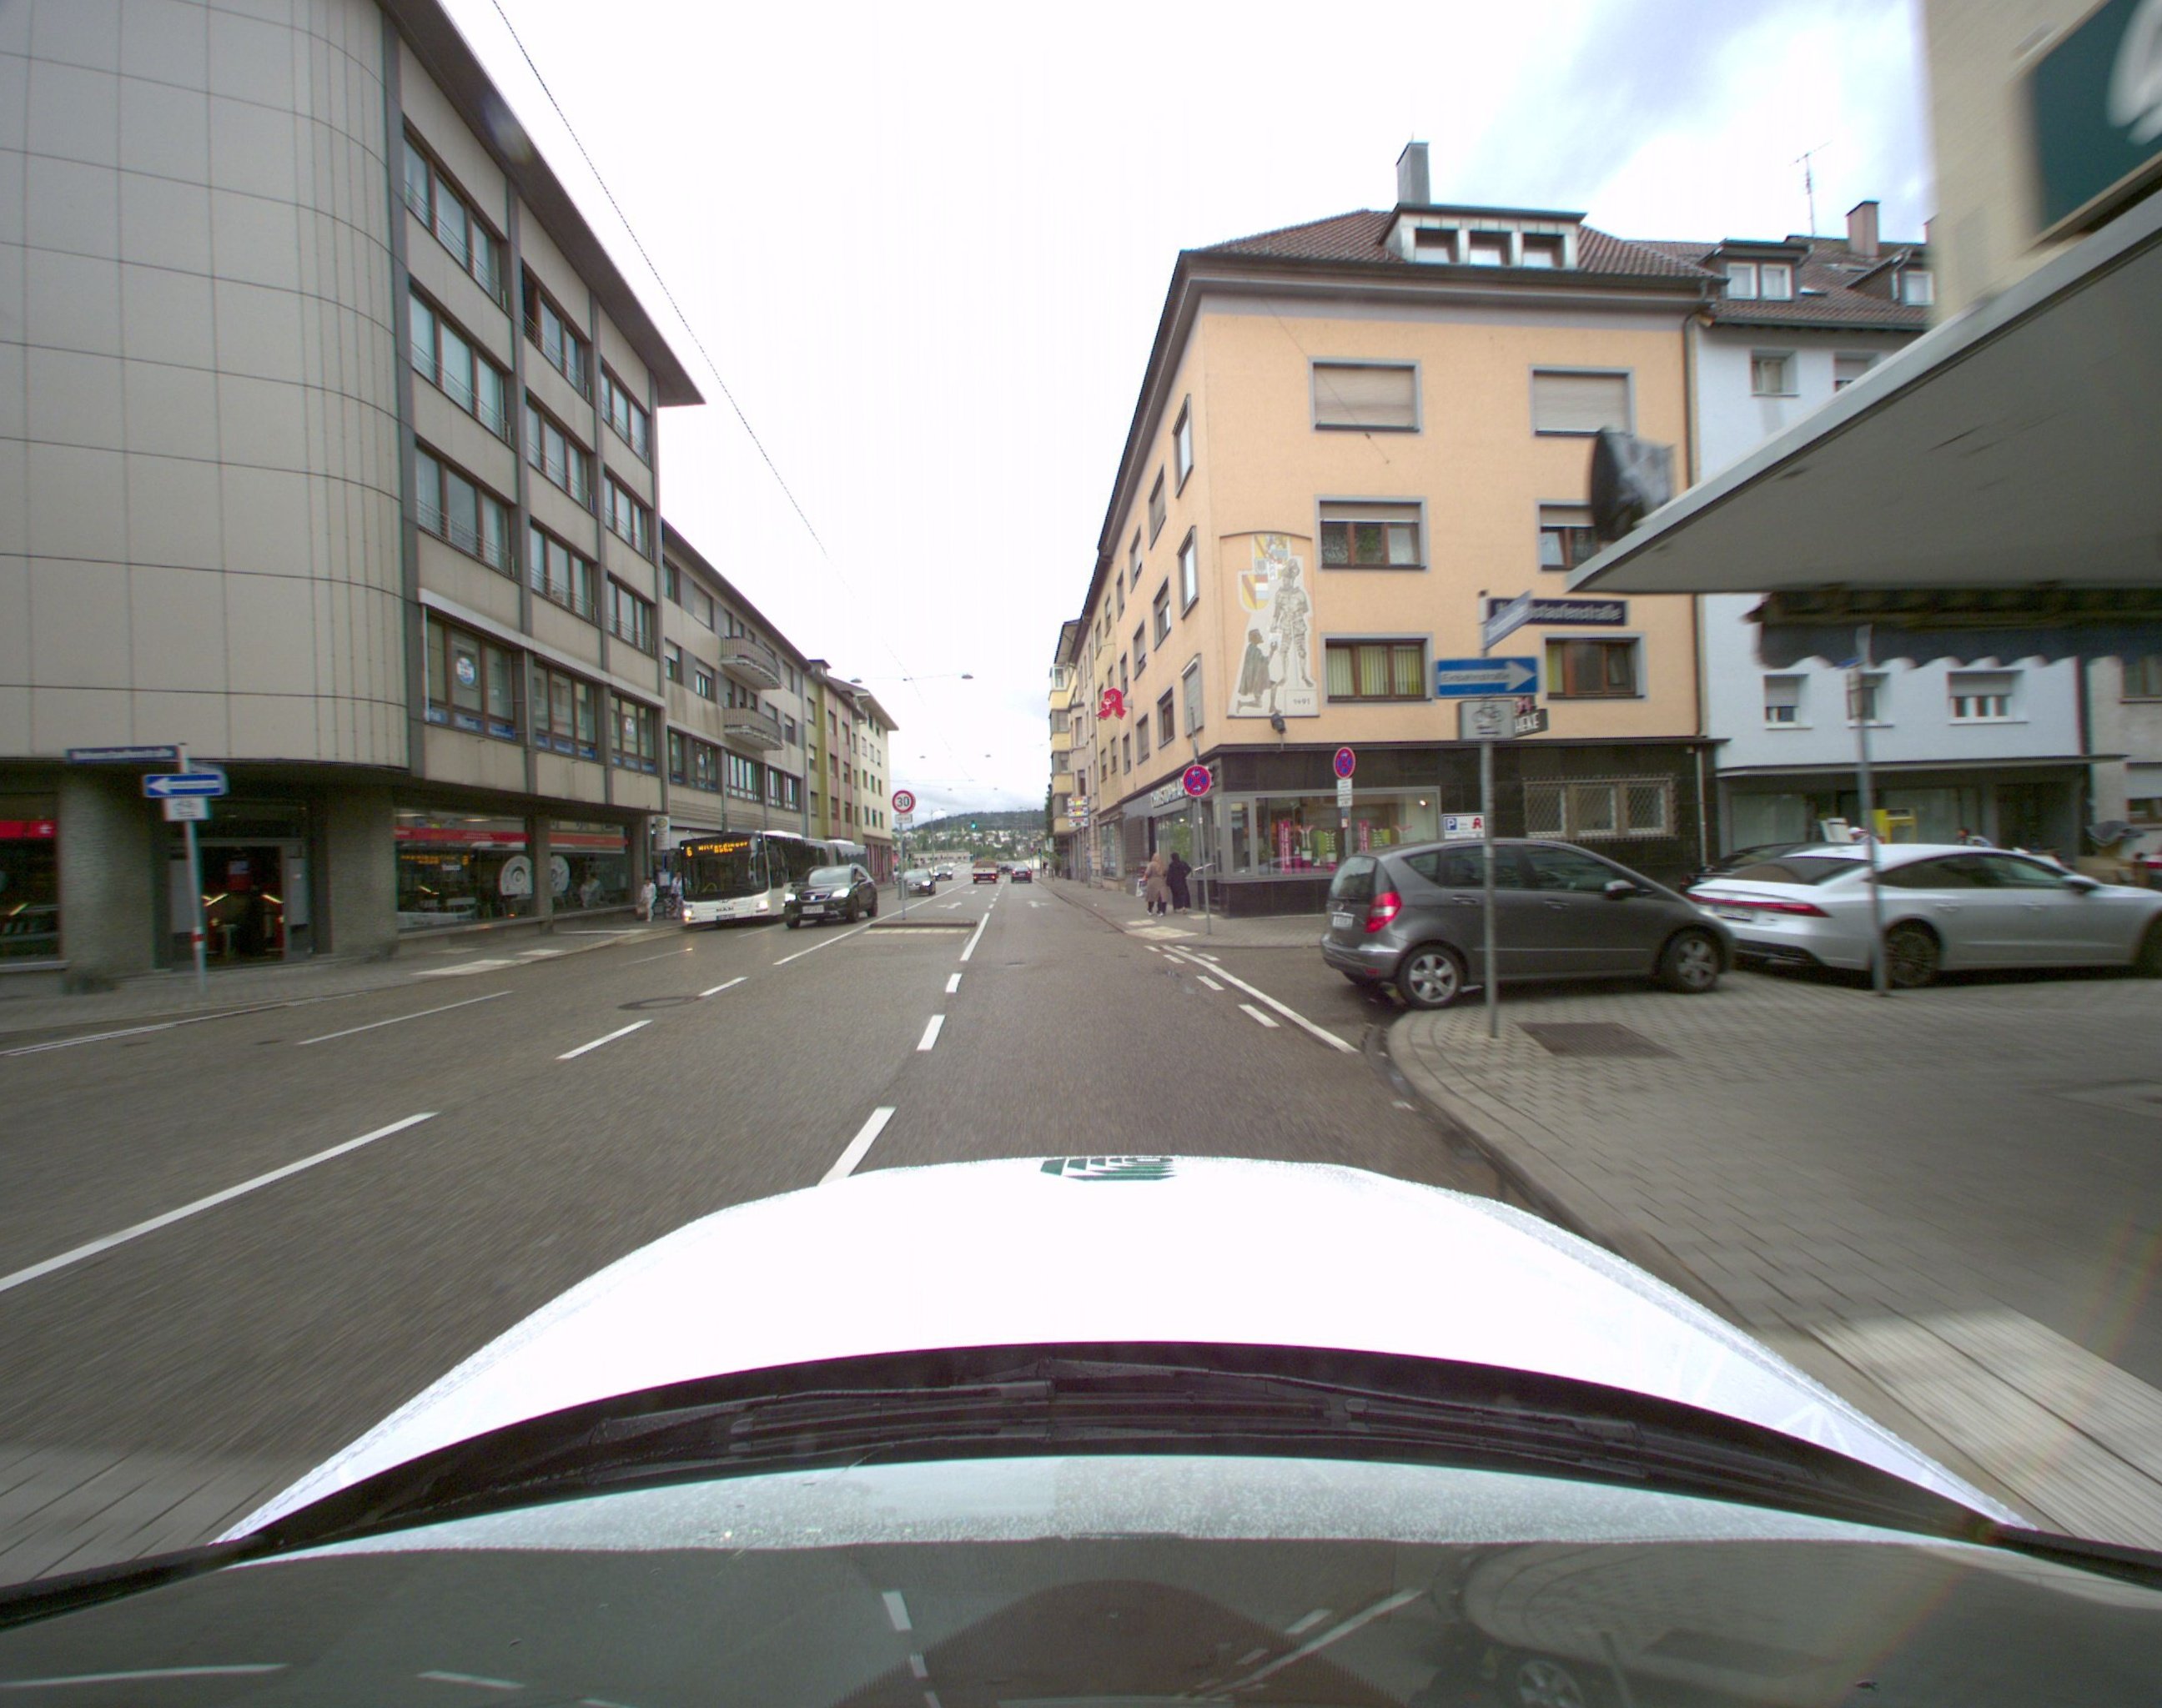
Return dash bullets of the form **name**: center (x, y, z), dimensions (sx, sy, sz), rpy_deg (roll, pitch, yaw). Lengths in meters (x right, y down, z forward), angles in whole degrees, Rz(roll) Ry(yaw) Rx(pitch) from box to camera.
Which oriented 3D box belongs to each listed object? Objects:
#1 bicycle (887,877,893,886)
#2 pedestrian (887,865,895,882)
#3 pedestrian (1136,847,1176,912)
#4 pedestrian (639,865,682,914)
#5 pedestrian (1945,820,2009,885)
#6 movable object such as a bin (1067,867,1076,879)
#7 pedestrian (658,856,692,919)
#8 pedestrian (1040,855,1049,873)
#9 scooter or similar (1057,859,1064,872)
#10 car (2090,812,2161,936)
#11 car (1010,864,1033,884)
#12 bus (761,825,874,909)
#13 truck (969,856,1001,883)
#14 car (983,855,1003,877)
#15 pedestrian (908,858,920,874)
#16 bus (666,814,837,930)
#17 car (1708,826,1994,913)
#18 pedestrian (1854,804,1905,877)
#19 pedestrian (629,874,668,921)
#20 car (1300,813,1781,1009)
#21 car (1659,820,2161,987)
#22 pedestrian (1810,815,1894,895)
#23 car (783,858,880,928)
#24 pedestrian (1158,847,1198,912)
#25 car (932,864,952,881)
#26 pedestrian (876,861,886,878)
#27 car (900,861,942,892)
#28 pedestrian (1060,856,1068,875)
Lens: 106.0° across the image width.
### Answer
- **bicycle**: center (-17.681, 2.546, 75.299), dimensions (0.264, 0.783, 1.419), rpy_deg (-3, -1, -5)
- **pedestrian**: center (-18.040, 1.859, 77.277), dimensions (0.574, 1.553, 0.738), rpy_deg (-3, -1, -8)
- **pedestrian**: center (1.863, 0.626, 20.306), dimensions (0.778, 1.560, 0.781), rpy_deg (-3, -1, -7)
- **pedestrian**: center (-14.084, 1.172, 27.304), dimensions (0.943, 1.589, 0.833), rpy_deg (-3, -1, -3)
- **pedestrian**: center (19.872, -0.033, 18.071), dimensions (0.690, 1.374, 0.624), rpy_deg (-3, -1, -9)
- **movable object such as a bin**: center (-0.742, 1.483, 65.208), dimensions (0.599, 0.926, 0.703), rpy_deg (-3, -1, -5)
- **pedestrian**: center (-13.363, 1.092, 26.837), dimensions (0.677, 2.014, 0.776), rpy_deg (-3, -1, -3)
- **pedestrian**: center (-3.828, 1.015, 85.305), dimensions (0.732, 1.841, 0.629), rpy_deg (-3, -1, -7)
- **scooter or similar**: center (-2.005, 1.088, 77.998), dimensions (0.510, 1.172, 1.546), rpy_deg (-3, -1, -5)
- **car**: center (16.190, 0.187, 11.426), dimensions (4.033, 1.618, 1.789), rpy_deg (-3, -1, -28)
- **car**: center (-4.984, 1.647, 67.912), dimensions (1.751, 1.479, 3.993), rpy_deg (-3, -1, -5)
- **bus**: center (-11.588, 0.589, 36.839), dimensions (2.721, 3.188, 9.275), rpy_deg (-3, -1, -5)
- **truck**: center (-7.993, 1.285, 68.277), dimensions (2.396, 2.129, 5.304), rpy_deg (-3, -1, -5)
- **car**: center (-9.870, 1.340, 91.498), dimensions (1.991, 2.350, 4.999), rpy_deg (-3, -1, -6)
- **pedestrian**: center (-21.349, 1.568, 104.355), dimensions (0.975, 2.014, 1.179), rpy_deg (-3, -1, 14)
- **bus**: center (-10.763, 0.558, 27.773), dimensions (2.754, 3.188, 8.895), rpy_deg (-3, -1, -5)
- **car**: center (14.646, 0.274, 15.595), dimensions (4.066, 1.352, 1.866), rpy_deg (-3, -1, -9)
- **pedestrian**: center (18.988, -0.318, 19.367), dimensions (0.536, 1.683, 0.592), rpy_deg (-3, -1, -9)
- **pedestrian**: center (-13.583, 1.356, 25.583), dimensions (0.766, 1.396, 0.786), rpy_deg (-3, -1, -3)
- **car**: center (4.461, 0.515, 8.359), dimensions (3.816, 1.574, 1.934), rpy_deg (-3, -1, -3)
- **car**: center (9.226, 0.481, 9.022), dimensions (4.470, 1.442, 1.784), rpy_deg (-3, -1, -4)
- **pedestrian**: center (16.789, 0.023, 17.750), dimensions (0.857, 1.667, 0.950), rpy_deg (-3, -1, -10)
- **car**: center (-6.934, 1.013, 23.069), dimensions (1.741, 1.662, 4.408), rpy_deg (-3, 1, -6)
- **pedestrian**: center (2.441, 0.640, 20.585), dimensions (0.767, 1.560, 0.874), rpy_deg (-3, -1, -7)
- **car**: center (-15.654, 2.100, 91.817), dimensions (1.929, 1.757, 4.562), rpy_deg (-3, -1, -7)
- **pedestrian**: center (-18.974, 1.461, 77.188), dimensions (0.772, 1.577, 0.587), rpy_deg (-3, -1, -6)
- **car**: center (-8.425, 1.164, 43.168), dimensions (1.706, 1.451, 4.077), rpy_deg (-3, -1, -6)
- **pedestrian**: center (-1.528, 1.068, 73.403), dimensions (0.617, 1.699, 0.656), rpy_deg (-3, -1, -1)
